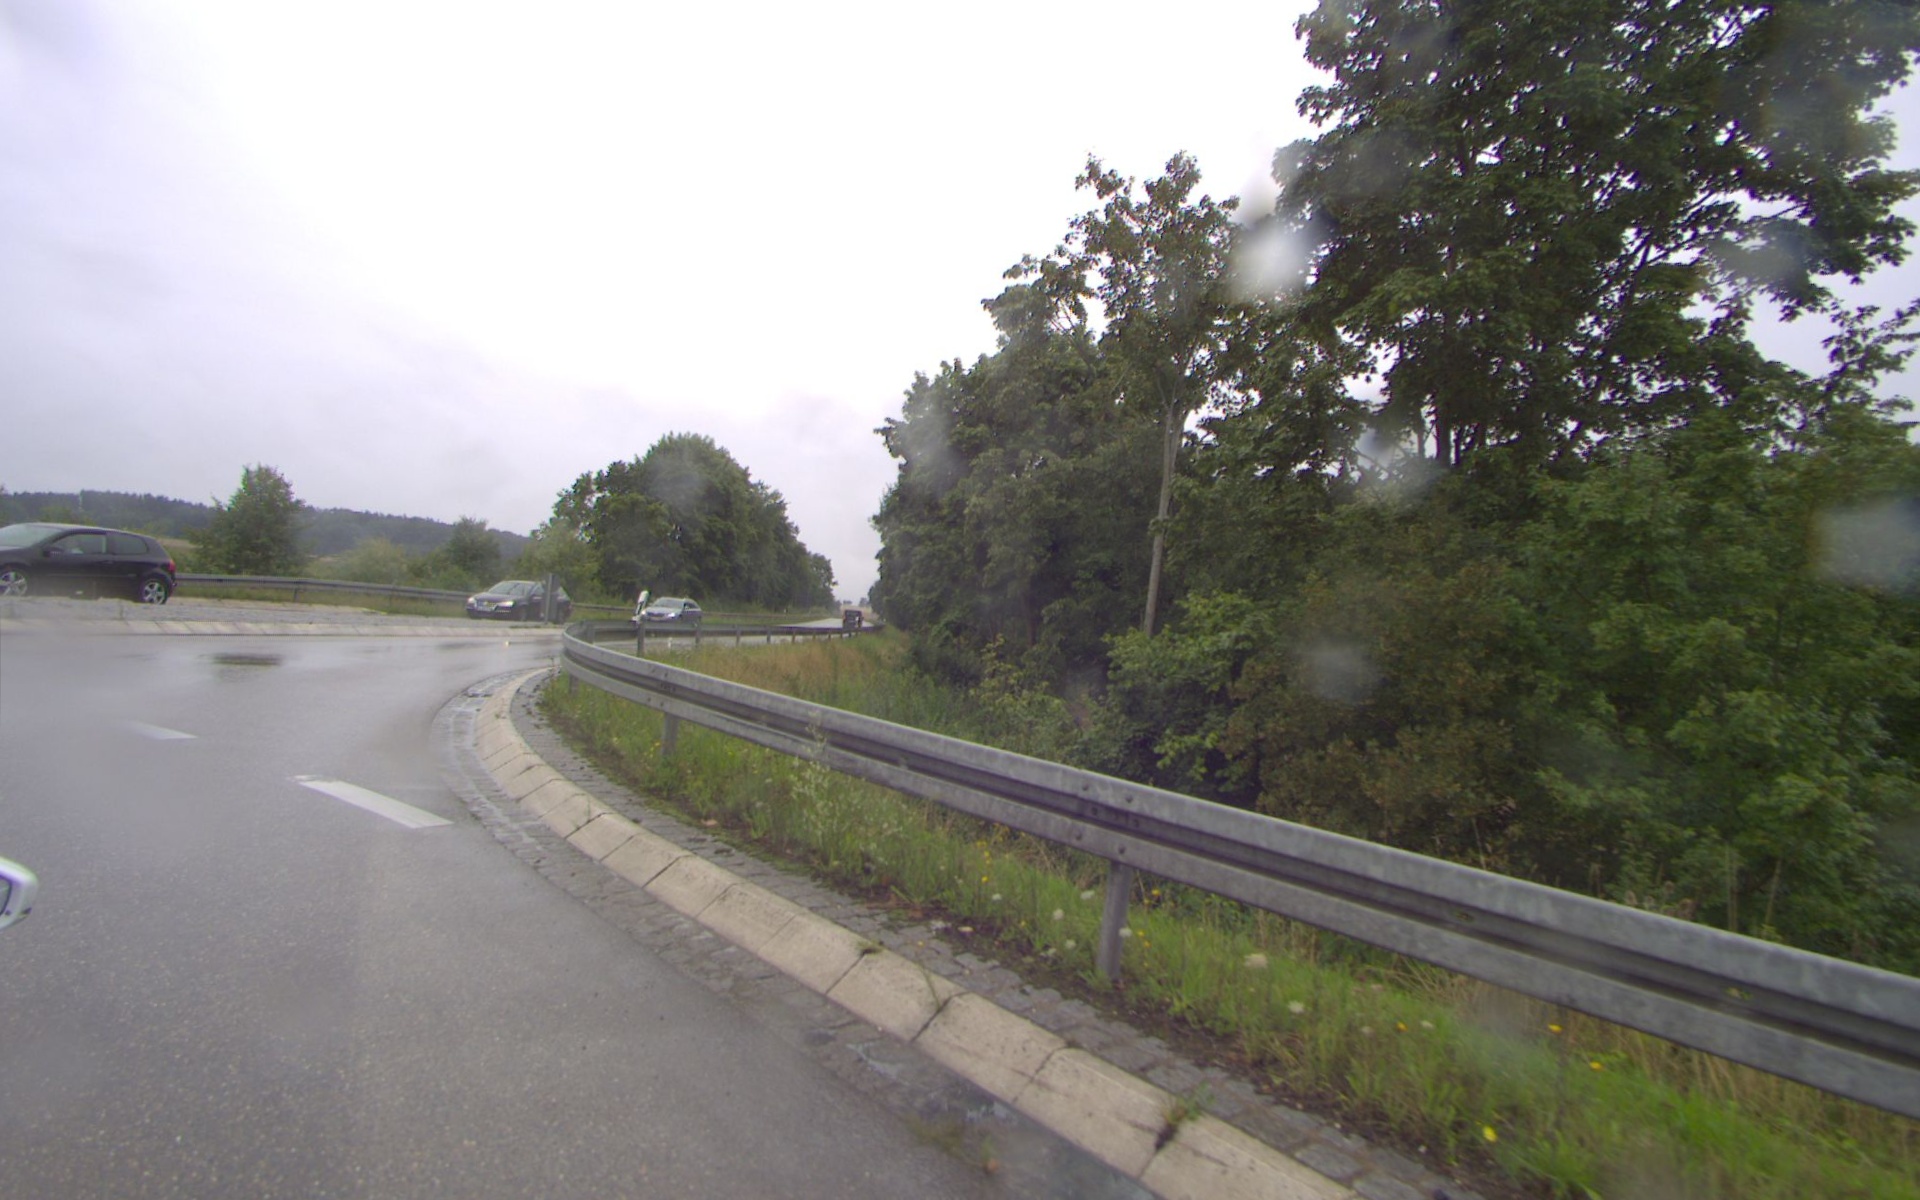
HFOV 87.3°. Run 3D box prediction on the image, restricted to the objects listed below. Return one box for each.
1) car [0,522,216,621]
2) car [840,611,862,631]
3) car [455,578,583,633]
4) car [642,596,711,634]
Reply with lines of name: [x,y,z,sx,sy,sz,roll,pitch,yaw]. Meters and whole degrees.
car: [-16.479,-0.559,18.375,1.838,1.437,4.511,7,-3,10]
car: [-10.750,2.018,98.675,1.965,1.595,3.994,7,0,-7]
car: [-14.576,0.245,33.570,1.913,1.386,4.510,7,-3,4]
car: [-13.511,0.773,48.239,1.731,1.437,4.509,7,-3,3]
